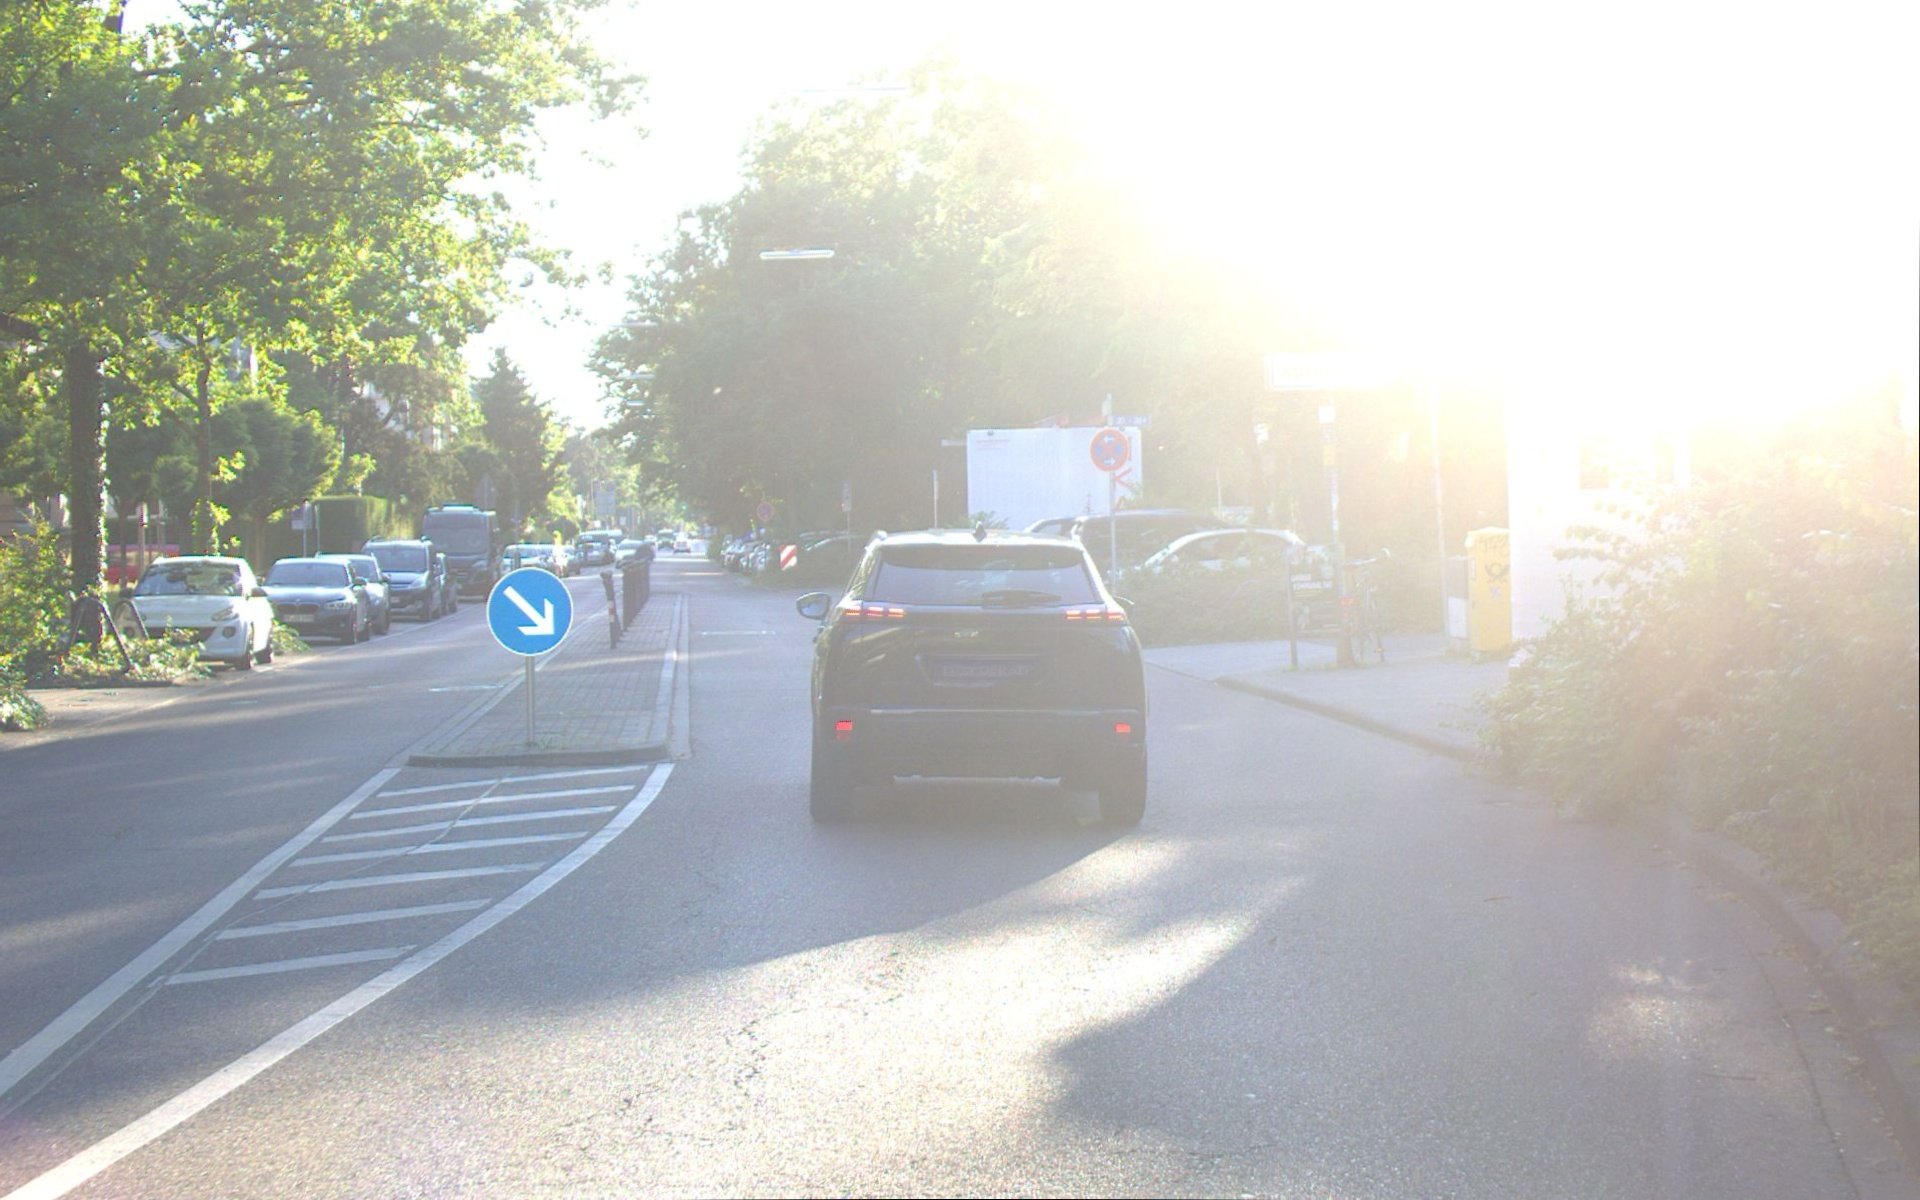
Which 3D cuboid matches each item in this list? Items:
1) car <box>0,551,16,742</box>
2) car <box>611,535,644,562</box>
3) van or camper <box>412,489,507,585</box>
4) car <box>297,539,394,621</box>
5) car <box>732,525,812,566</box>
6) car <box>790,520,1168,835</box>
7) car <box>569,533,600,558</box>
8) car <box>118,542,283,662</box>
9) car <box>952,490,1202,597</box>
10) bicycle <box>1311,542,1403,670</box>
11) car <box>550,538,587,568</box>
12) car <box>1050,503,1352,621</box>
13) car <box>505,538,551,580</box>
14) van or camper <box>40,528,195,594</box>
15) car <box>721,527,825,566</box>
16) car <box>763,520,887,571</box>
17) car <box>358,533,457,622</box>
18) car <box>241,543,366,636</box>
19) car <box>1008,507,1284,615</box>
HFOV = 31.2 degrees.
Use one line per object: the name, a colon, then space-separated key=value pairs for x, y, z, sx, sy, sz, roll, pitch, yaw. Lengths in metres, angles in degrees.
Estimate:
car: x=-8.379 y=0.405 z=25.281 sx=1.802 sy=1.505 sz=4.863 roll=0 pitch=1 yaw=-3
car: x=-18.676 y=-2.894 z=193.294 sx=1.740 sy=1.453 sz=4.625 roll=-2 pitch=1 yaw=-5
van or camper: x=-13.892 y=-1.745 z=95.713 sx=2.229 sy=2.535 sz=7.081 roll=0 pitch=1 yaw=-5
car: x=-11.701 y=-0.408 z=65.670 sx=1.718 sy=1.491 sz=4.378 roll=-1 pitch=1 yaw=-9
car: x=-9.805 y=-2.842 z=178.968 sx=3.986 sy=2.082 sz=1.758 roll=-1 pitch=1 yaw=-9
car: x=-0.002 y=0.342 z=19.302 sx=1.771 sy=1.563 sz=4.109 roll=0 pitch=1 yaw=-5
car: x=-23.897 y=-3.489 z=218.943 sx=1.899 sy=1.568 sz=4.001 roll=-1 pitch=1 yaw=-5
car: x=-10.068 y=-0.006 z=45.784 sx=1.617 sy=1.491 sz=3.925 roll=-1 pitch=1 yaw=-5
car: x=2.389 y=-1.174 z=70.976 sx=4.851 sy=1.909 sz=1.916 roll=-3 pitch=1 yaw=-5
bicycle: x=4.028 y=0.044 z=34.762 sx=0.492 sy=1.144 sz=2.284 roll=-4 pitch=2 yaw=16
car: x=-19.768 y=-2.381 z=173.482 sx=1.752 sy=1.409 sz=3.765 roll=-3 pitch=2 yaw=-6
car: x=3.689 y=-0.594 z=53.108 sx=4.362 sy=1.548 sz=1.728 roll=-3 pitch=1 yaw=-5
car: x=-16.404 y=-1.565 z=130.660 sx=1.613 sy=1.510 sz=3.713 roll=-3 pitch=1 yaw=-6
van or camper: x=-28.573 y=-1.347 z=116.715 sx=4.768 sy=1.979 sz=2.001 roll=-1 pitch=5 yaw=-2
car: x=-8.000 y=-2.279 z=146.947 sx=4.242 sy=1.444 sz=2.022 roll=-3 pitch=1 yaw=-7
car: x=-4.489 y=-1.817 z=113.973 sx=3.986 sy=1.549 sz=1.726 roll=-2 pitch=3 yaw=-5
car: x=-12.169 y=-0.520 z=75.957 sx=1.777 sy=1.859 sz=4.333 roll=1 pitch=1 yaw=-4
car: x=-11.127 y=-0.203 z=58.449 sx=1.617 sy=1.491 sz=4.378 roll=-1 pitch=1 yaw=-5
car: x=3.126 y=-0.667 z=58.185 sx=4.362 sy=1.548 sz=1.876 roll=-3 pitch=1 yaw=-5
